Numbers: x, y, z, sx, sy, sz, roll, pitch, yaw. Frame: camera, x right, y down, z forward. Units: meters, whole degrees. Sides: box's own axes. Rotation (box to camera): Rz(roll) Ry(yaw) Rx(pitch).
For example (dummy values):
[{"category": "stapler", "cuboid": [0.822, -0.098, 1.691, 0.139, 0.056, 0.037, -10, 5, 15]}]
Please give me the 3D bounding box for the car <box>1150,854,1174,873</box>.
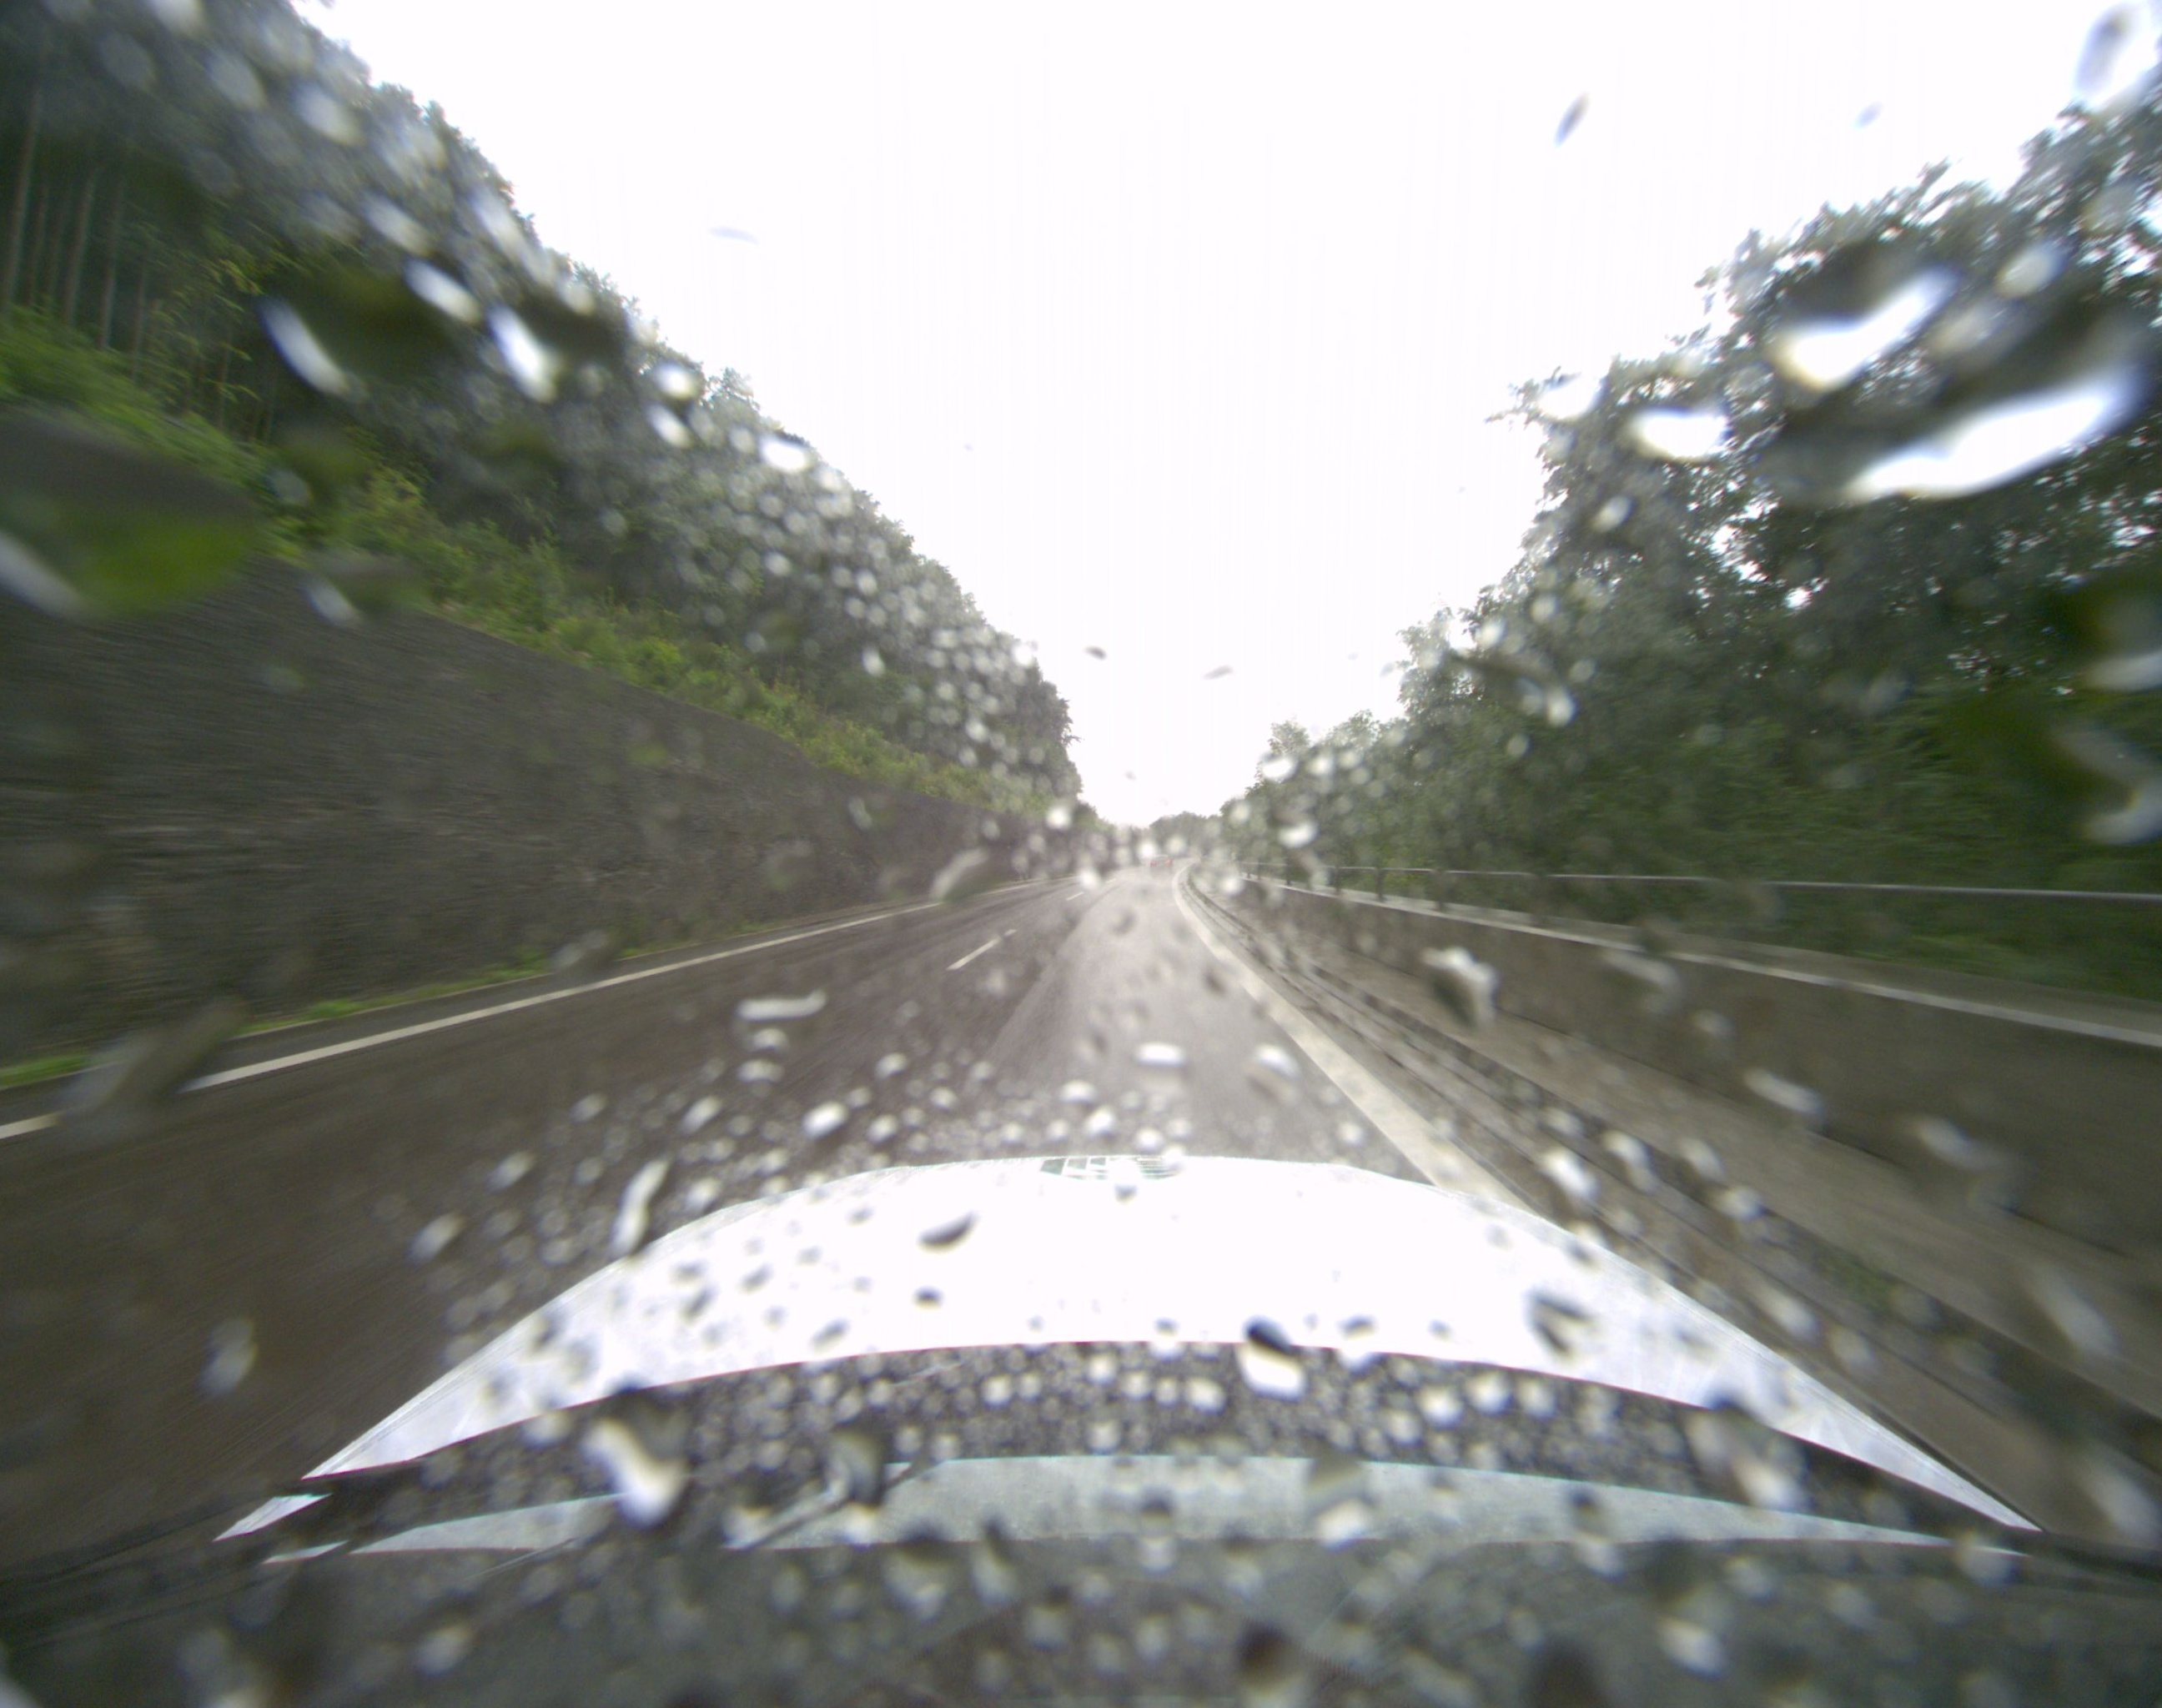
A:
[{"category": "car", "cuboid": [6.870, 0.766, 69.099, 1.895, 1.499, 4.005, -3, 0, 4]}]
